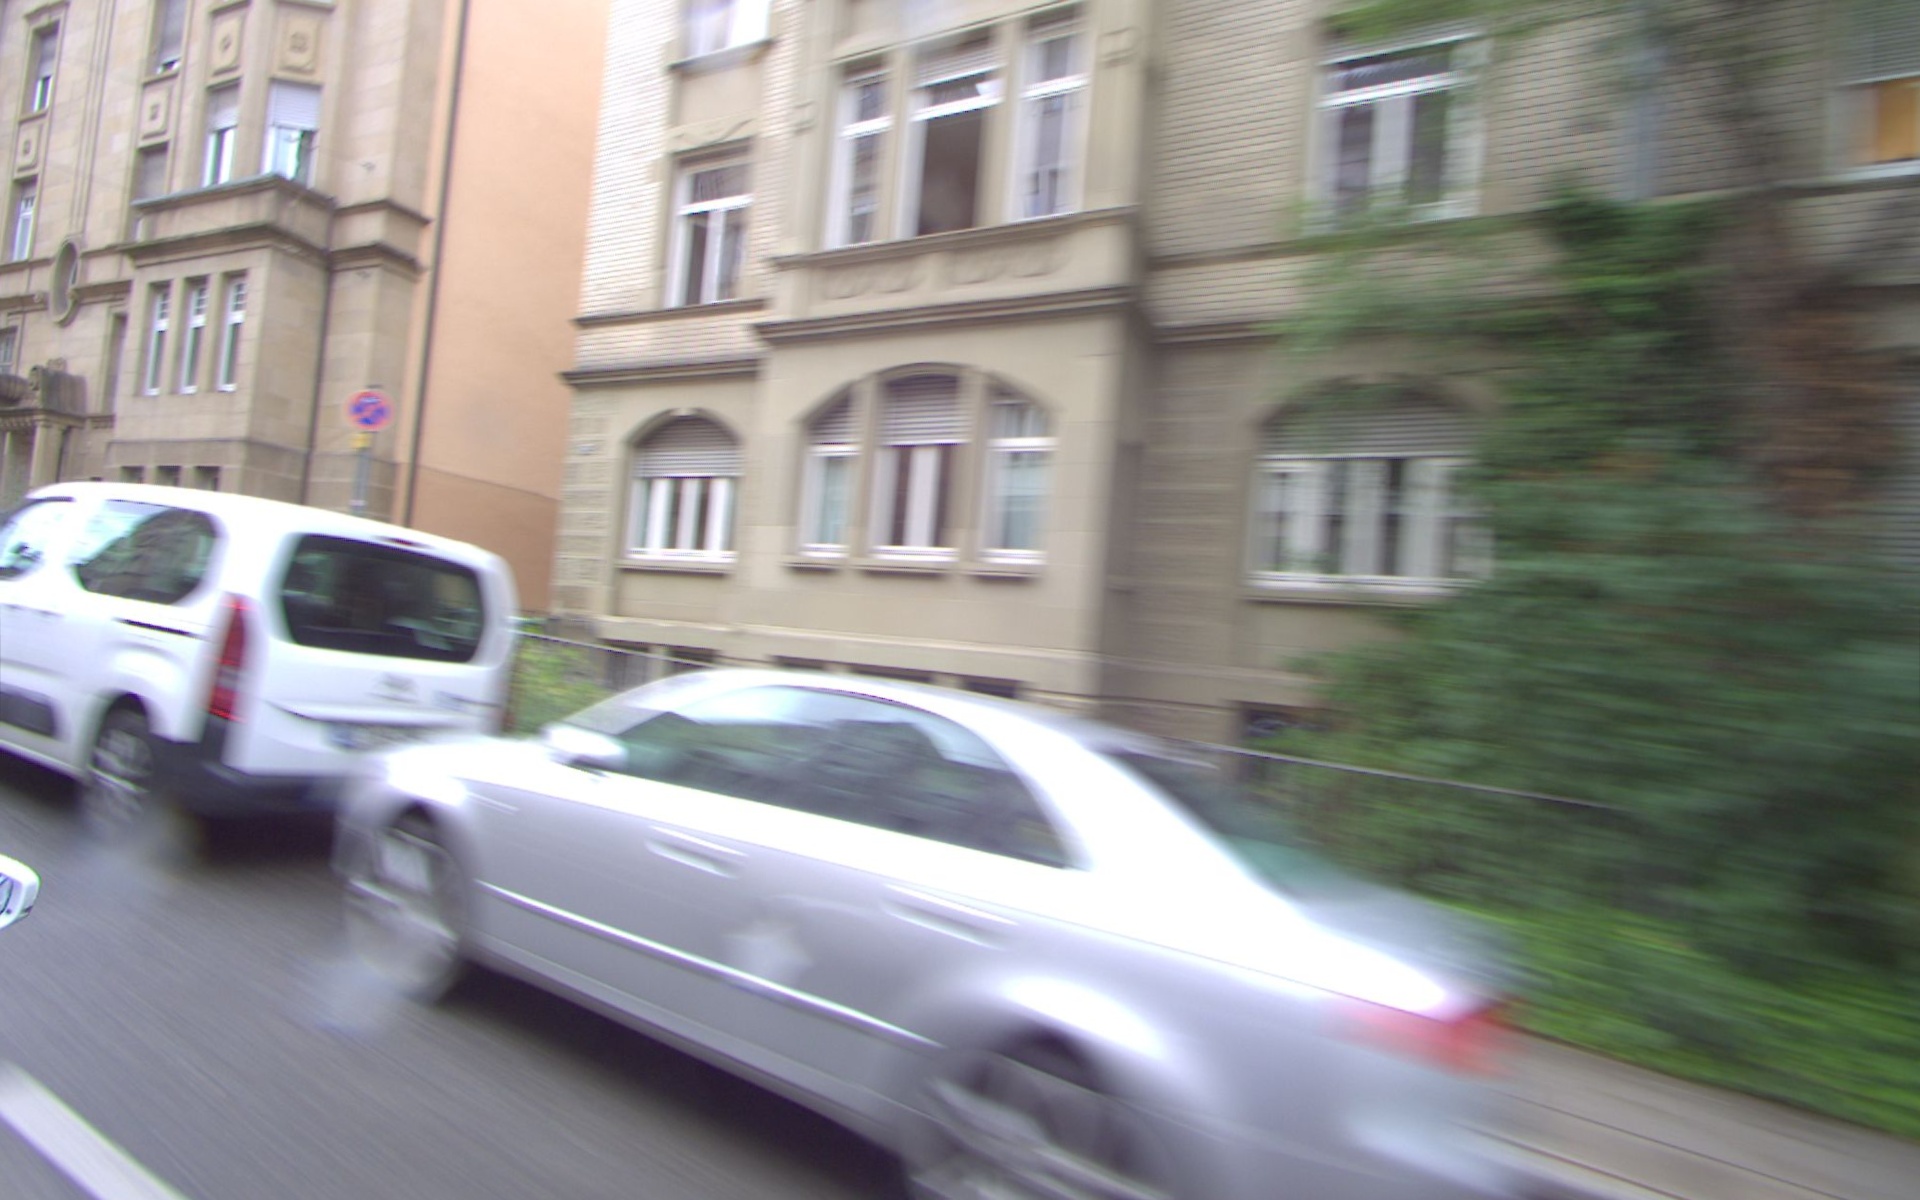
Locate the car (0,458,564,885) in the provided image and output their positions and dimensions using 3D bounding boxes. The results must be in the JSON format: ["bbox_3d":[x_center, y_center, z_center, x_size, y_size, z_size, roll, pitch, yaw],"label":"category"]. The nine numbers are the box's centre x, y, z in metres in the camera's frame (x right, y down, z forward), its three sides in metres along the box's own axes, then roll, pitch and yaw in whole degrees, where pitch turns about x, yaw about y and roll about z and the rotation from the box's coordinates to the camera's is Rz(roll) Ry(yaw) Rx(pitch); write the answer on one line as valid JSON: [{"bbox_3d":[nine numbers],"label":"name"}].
[{"bbox_3d":[-4.856,0.243,6.252,4.384,1.783,1.805,7,-4,27],"label":"car"}]

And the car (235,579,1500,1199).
[{"bbox_3d":[-0.531,0.970,3.816,4.401,1.415,1.755,7,-4,29],"label":"car"}]

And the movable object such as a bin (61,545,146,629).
[{"bbox_3d":[-11.932,-0.172,14.023,0.593,1.036,0.540,6,-6,25],"label":"movable object such as a bin"}]

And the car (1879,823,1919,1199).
[{"bbox_3d":[3.907,1.451,1.400,3.521,1.562,1.566,7,-4,27],"label":"car"}]
